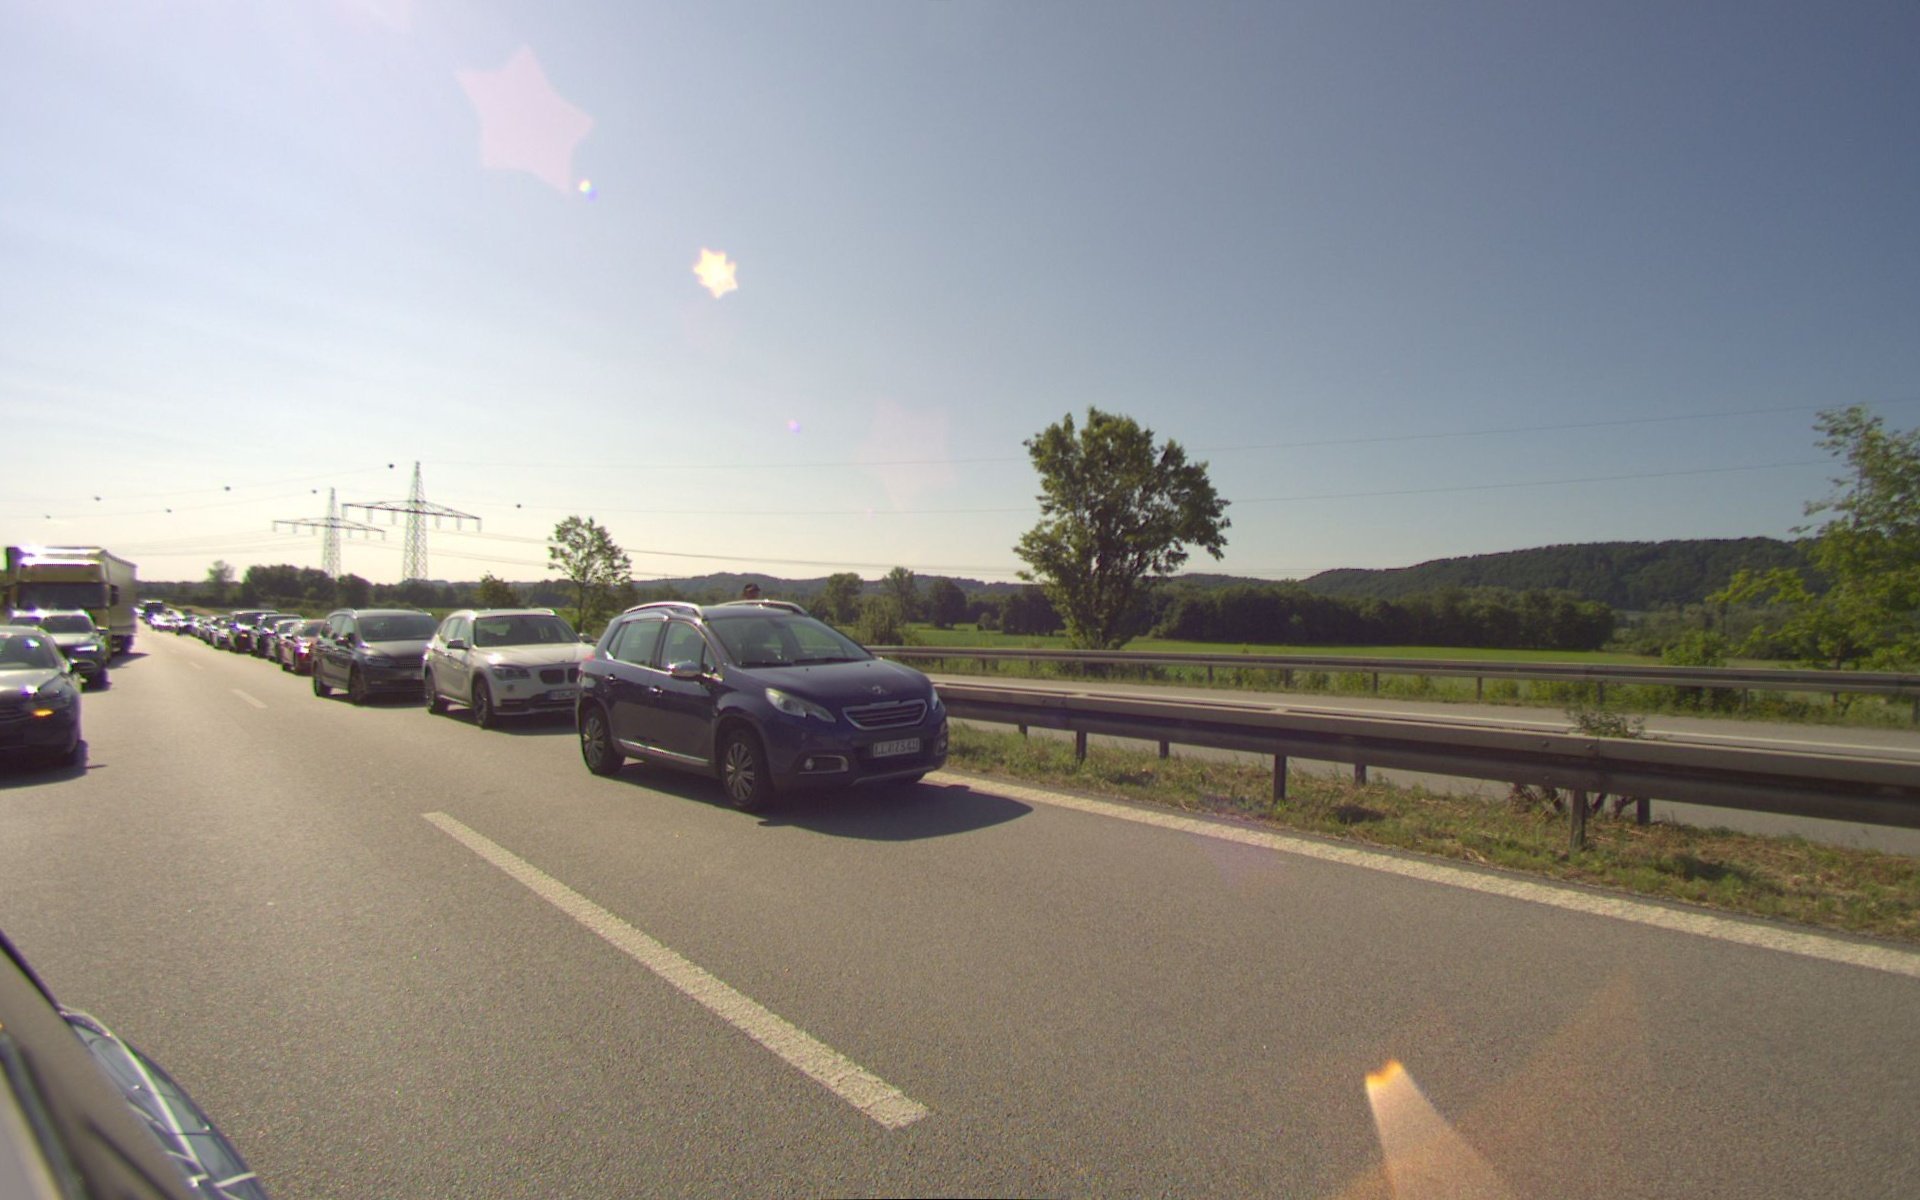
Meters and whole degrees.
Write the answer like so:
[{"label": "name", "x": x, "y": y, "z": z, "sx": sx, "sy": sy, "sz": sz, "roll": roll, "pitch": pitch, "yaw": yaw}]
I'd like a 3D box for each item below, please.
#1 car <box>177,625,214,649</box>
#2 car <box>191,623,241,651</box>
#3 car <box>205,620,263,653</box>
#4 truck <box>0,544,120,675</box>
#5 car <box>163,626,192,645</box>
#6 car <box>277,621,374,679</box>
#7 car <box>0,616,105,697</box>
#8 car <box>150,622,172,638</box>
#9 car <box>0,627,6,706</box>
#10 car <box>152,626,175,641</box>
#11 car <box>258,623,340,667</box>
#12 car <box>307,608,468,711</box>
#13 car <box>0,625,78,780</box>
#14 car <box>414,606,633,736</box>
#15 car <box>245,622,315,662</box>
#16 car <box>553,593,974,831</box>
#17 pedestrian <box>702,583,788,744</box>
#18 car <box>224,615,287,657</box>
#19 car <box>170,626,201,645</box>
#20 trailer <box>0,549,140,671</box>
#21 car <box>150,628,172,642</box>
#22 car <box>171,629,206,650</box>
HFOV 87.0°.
[{"label": "car", "x": -50.976, "y": 2.427, "z": 67.455, "sx": 1.792, "sy": 1.470, "sz": 4.125, "roll": -1, "pitch": 0, "yaw": -39}, {"label": "car", "x": -42.116, "y": 2.053, "z": 57.245, "sx": 1.969, "sy": 1.542, "sz": 4.006, "roll": 1, "pitch": -2, "yaw": -41}, {"label": "car", "x": -36.033, "y": 1.783, "z": 50.205, "sx": 1.969, "sy": 1.542, "sz": 4.006, "roll": 1, "pitch": -2, "yaw": -41}, {"label": "truck", "x": -31.821, "y": 0.328, "z": 35.612, "sx": 3.282, "sy": 4.144, "sz": 6.984, "roll": -1, "pitch": 0, "yaw": -38}, {"label": "car", "x": -67.461, "y": 3.041, "z": 87.234, "sx": 1.792, "sy": 1.470, "sz": 4.124, "roll": -1, "pitch": 0, "yaw": -40}, {"label": "car", "x": -17.589, "y": 1.335, "z": 27.979, "sx": 1.792, "sy": 1.470, "sz": 4.125, "roll": 1, "pitch": -2, "yaw": -39}, {"label": "car", "x": -20.570, "y": 1.211, "z": 22.984, "sx": 1.691, "sy": 1.636, "sz": 4.333, "roll": -1, "pitch": -1, "yaw": -40}, {"label": "car", "x": -90.296, "y": 3.377, "z": 114.310, "sx": 1.786, "sy": 1.807, "sz": 3.779, "roll": 1, "pitch": -2, "yaw": -40}, {"label": "car", "x": -17.482, "y": 1.200, "z": 17.110, "sx": 1.691, "sy": 1.436, "sz": 4.333, "roll": -1, "pitch": -1, "yaw": -40}, {"label": "car", "x": -80.817, "y": 3.358, "z": 102.661, "sx": 1.792, "sy": 1.470, "sz": 4.125, "roll": -1, "pitch": 0, "yaw": -39}, {"label": "car", "x": -22.859, "y": 1.518, "z": 34.938, "sx": 1.867, "sy": 1.409, "sz": 4.006, "roll": 1, "pitch": -2, "yaw": -41}, {"label": "car", "x": -10.524, "y": 1.000, "z": 18.463, "sx": 1.793, "sy": 1.628, "sz": 4.123, "roll": -1, "pitch": -1, "yaw": -41}, {"label": "car", "x": -10.599, "y": 1.001, "z": 10.788, "sx": 1.691, "sy": 1.424, "sz": 4.333, "roll": -1, "pitch": -1, "yaw": -40}, {"label": "car", "x": -6.376, "y": 0.910, "z": 14.532, "sx": 1.805, "sy": 1.586, "sz": 4.170, "roll": 0, "pitch": -1, "yaw": -39}, {"label": "car", "x": -26.703, "y": 1.609, "z": 39.676, "sx": 1.865, "sy": 1.466, "sz": 4.007, "roll": 1, "pitch": -2, "yaw": -40}, {"label": "car", "x": -1.865, "y": 0.769, "z": 8.678, "sx": 1.668, "sy": 1.546, "sz": 3.952, "roll": -1, "pitch": 0, "yaw": -43}, {"label": "pedestrian", "x": -2.474, "y": 0.703, "z": 11.629, "sx": 0.662, "sy": 1.764, "sz": 0.816, "roll": 1, "pitch": -2, "yaw": -40}, {"label": "car", "x": -31.248, "y": 1.578, "z": 44.849, "sx": 1.873, "sy": 1.801, "sz": 4.206, "roll": 1, "pitch": -2, "yaw": -41}, {"label": "car", "x": -61.904, "y": 2.803, "z": 80.886, "sx": 1.792, "sy": 1.470, "sz": 4.125, "roll": 1, "pitch": -2, "yaw": -39}, {"label": "trailer", "x": -35.446, "y": 0.393, "z": 40.548, "sx": 3.335, "sy": 4.144, "sz": 13.984, "roll": -1, "pitch": 0, "yaw": -36}, {"label": "car", "x": -84.447, "y": 3.653, "z": 106.989, "sx": 1.792, "sy": 1.470, "sz": 4.125, "roll": 1, "pitch": -2, "yaw": -39}, {"label": "car", "x": -55.276, "y": 2.784, "z": 72.454, "sx": 1.792, "sy": 1.470, "sz": 4.124, "roll": 1, "pitch": -2, "yaw": -40}]
